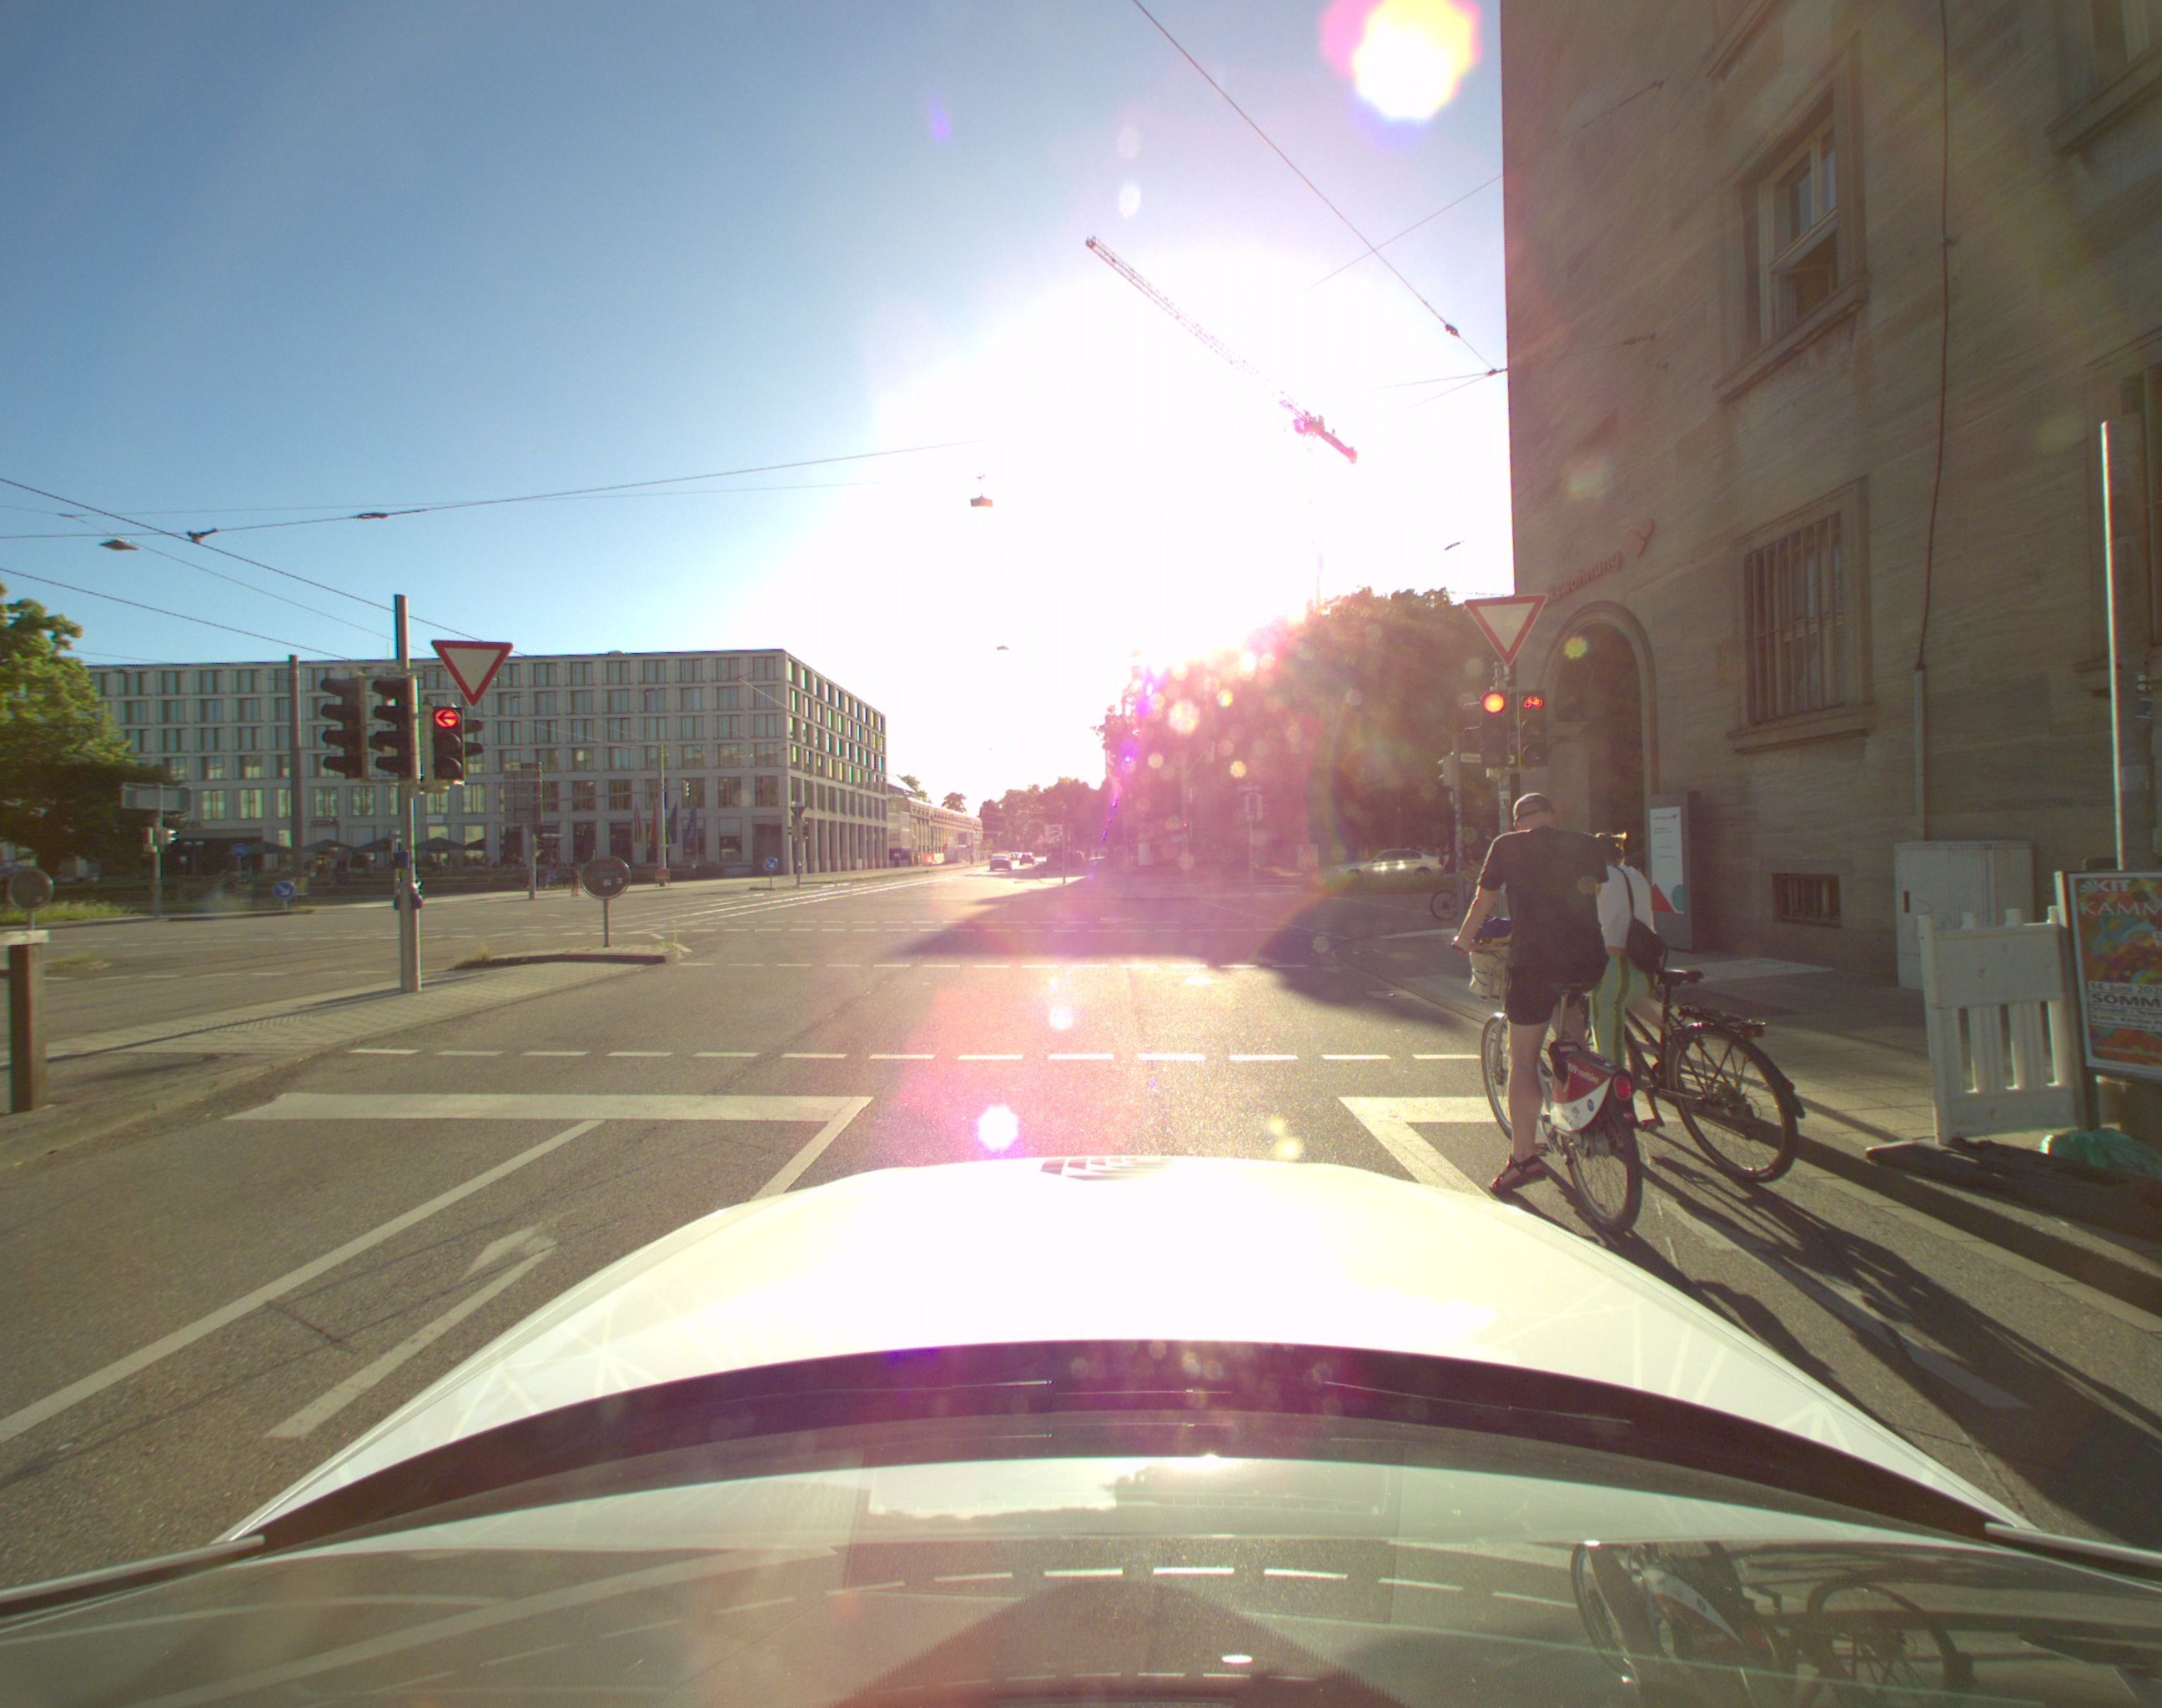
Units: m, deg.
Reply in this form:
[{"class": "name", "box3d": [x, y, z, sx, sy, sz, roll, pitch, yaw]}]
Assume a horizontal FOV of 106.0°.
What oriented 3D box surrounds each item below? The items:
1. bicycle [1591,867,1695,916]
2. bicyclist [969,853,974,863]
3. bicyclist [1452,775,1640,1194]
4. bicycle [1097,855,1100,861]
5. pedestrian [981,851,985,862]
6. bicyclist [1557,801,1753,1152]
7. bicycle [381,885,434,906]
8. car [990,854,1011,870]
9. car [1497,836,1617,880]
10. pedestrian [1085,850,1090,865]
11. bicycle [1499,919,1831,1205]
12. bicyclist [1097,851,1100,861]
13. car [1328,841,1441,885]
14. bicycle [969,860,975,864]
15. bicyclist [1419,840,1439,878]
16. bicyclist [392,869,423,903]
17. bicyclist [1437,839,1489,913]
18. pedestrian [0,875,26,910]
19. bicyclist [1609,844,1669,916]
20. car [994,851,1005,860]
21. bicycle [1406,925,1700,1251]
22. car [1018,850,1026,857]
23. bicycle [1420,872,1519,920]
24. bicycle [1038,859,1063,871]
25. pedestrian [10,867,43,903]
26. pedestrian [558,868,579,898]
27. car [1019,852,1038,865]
[{"class": "bicycle", "box3d": [11.790, 0.781, 17.109, 1.739, 0.935, 0.645, -2, 0, -3]}, {"class": "bicyclist", "box3d": [-15.126, 0.600, 112.853, 0.594, 1.377, 0.637, 0, -1, 0]}, {"class": "bicyclist", "box3d": [2.131, 0.561, 3.788, 0.556, 1.799, 0.551, -1, 0, 3]}, {"class": "bicycle", "box3d": [2.981, 0.694, 137.728, 0.573, 1.077, 1.831, -2, 0, 1]}, {"class": "pedestrian", "box3d": [-18.705, 0.471, 155.554, 0.672, 2.014, 0.751, 0, -1, -1]}, {"class": "bicyclist", "box3d": [2.961, 0.592, 4.255, 0.556, 1.691, 0.640, -1, 0, 0]}, {"class": "bicycle", "box3d": [-32.654, 2.005, 39.491, 0.755, 0.935, 1.871, -2, 0, 14]}, {"class": "car", "box3d": [-7.253, 0.700, 73.617, 1.656, 1.455, 4.428, -1, 0, -2]}, {"class": "car", "box3d": [19.221, 0.144, 32.987, 3.835, 1.611, 1.650, -2, 0, 1]}, {"class": "pedestrian", "box3d": [0.755, 0.416, 97.890, 0.462, 1.813, 0.502, -2, 0, -3]}, {"class": "bicycle", "box3d": [2.950, 0.958, 4.362, 0.532, 1.077, 1.751, -1, 0, 1]}, {"class": "bicyclist", "box3d": [2.972, 0.296, 137.722, 0.567, 1.691, 0.700, -2, 0, 1]}, {"class": "car", "box3d": [12.354, 0.353, 33.264, 3.979, 1.611, 1.650, -2, 0, 1]}, {"class": "bicycle", "box3d": [-15.100, 1.116, 112.829, 0.499, 0.515, 1.258, 0, -1, 1]}, {"class": "bicyclist", "box3d": [15.354, 0.217, 35.934, 0.640, 1.683, 0.508, -2, 0, 7]}, {"class": "bicyclist", "box3d": [-32.673, 1.527, 39.498, 0.753, 1.589, 0.781, -2, 1, 15]}, {"class": "bicyclist", "box3d": [8.127, 0.460, 17.350, 0.761, 1.524, 0.606, -2, 0, -3]}, {"class": "pedestrian", "box3d": [-58.847, 2.114, 44.729, 0.711, 1.900, 0.877, -1, -1, 11]}, {"class": "bicyclist", "box3d": [11.705, 0.532, 17.096, 0.796, 1.450, 0.617, -1, 0, -4]}, {"class": "car", "box3d": [-15.661, 0.262, 157.081, 1.688, 1.718, 4.245, 0, -1, -1]}, {"class": "bicycle", "box3d": [2.129, 0.958, 3.945, 0.513, 1.077, 1.729, -1, 0, 4]}, {"class": "car", "box3d": [-14.232, -0.121, 195.331, 1.688, 1.718, 4.245, 0, -1, -1]}, {"class": "bicycle", "box3d": [8.263, 0.890, 17.339, 1.853, 0.935, 0.559, -2, 0, -4]}, {"class": "bicycle", "box3d": [-2.564, 0.905, 67.713, 1.996, 0.891, 0.655, -4, -1, 29]}, {"class": "pedestrian", "box3d": [-59.285, 1.730, 45.806, 0.837, 2.014, 0.827, -1, -1, 11]}, {"class": "pedestrian", "box3d": [-28.694, 1.620, 45.598, 0.774, 1.589, 0.590, -2, 0, -6]}, {"class": "car", "box3d": [-6.659, 0.529, 103.867, 1.884, 1.565, 4.811, 1, 0, 2]}]
